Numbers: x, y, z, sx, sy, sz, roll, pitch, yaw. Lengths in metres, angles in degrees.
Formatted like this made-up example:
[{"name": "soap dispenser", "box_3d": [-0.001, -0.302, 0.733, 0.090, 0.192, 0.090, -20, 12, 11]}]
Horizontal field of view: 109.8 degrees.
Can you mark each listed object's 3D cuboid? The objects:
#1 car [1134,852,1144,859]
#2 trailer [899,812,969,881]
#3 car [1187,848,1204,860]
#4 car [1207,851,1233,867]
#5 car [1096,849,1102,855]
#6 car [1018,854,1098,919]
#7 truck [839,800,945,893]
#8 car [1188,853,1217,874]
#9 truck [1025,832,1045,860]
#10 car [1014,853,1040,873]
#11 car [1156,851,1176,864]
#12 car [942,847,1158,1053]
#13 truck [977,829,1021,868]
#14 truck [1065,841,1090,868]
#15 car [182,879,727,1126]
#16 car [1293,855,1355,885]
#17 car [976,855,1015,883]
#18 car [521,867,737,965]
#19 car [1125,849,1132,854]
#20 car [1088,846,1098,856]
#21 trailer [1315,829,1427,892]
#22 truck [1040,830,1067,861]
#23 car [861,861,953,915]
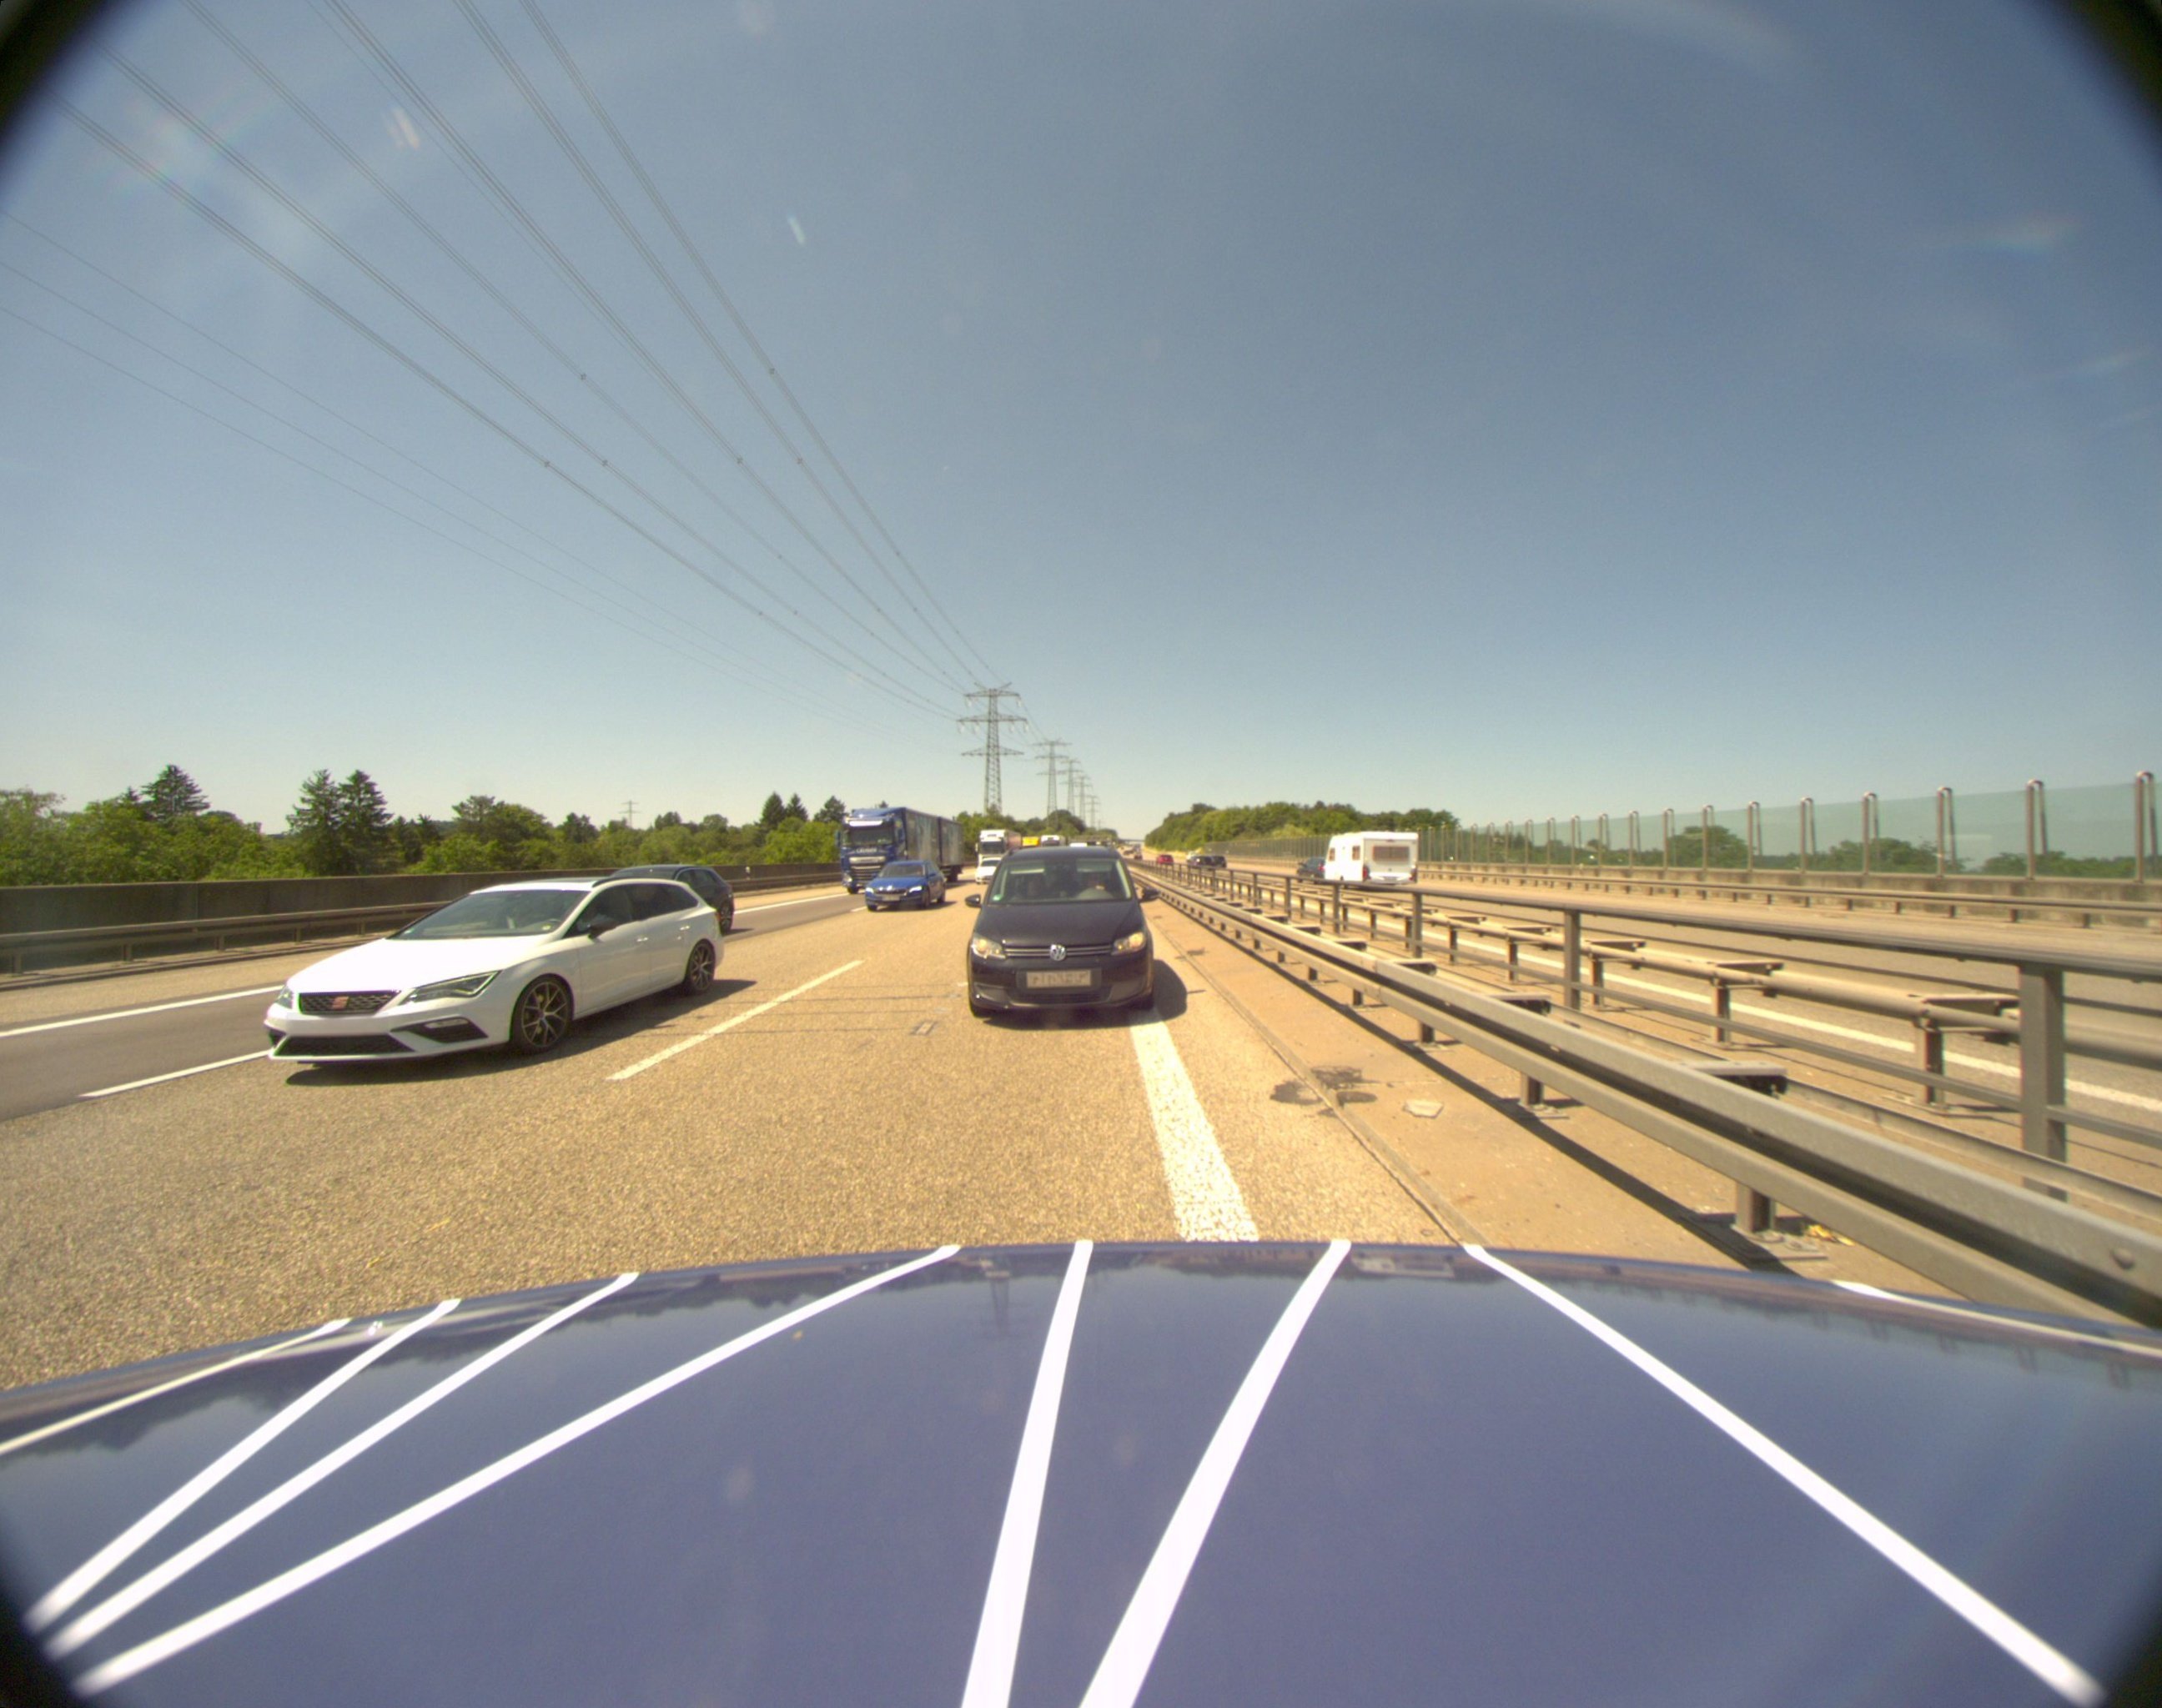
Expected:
[{"name": "car", "box_3d": [11.739, 0.349, 153.320, 1.601, 1.310, 4.341, 1, 0, 0]}, {"name": "trailer", "box_3d": [-9.112, -0.462, 48.094, 2.572, 3.922, 8.478, -2, 1, 1]}, {"name": "car", "box_3d": [18.695, 0.065, 124.418, 1.998, 1.874, 5.255, 1, 0, 0]}, {"name": "car", "box_3d": [13.832, 0.499, 75.936, 1.734, 1.483, 4.419, 1, 0, 0]}, {"name": "car", "box_3d": [5.933, -0.787, 249.958, 1.805, 2.002, 4.000, 0, 0, 1]}, {"name": "car", "box_3d": [-0.516, 0.767, 20.096, 1.845, 1.495, 4.377, -1, 0, 1]}, {"name": "truck", "box_3d": [-9.219, -0.402, 38.621, 2.529, 4.043, 10.446, -2, 1, 1]}, {"name": "car", "box_3d": [9.149, 0.702, 57.431, 1.672, 1.439, 4.000, 2, 0, 2]}, {"name": "truck", "box_3d": [-7.061, -1.270, 118.115, 2.346, 4.058, 8.278, -2, 1, 1]}, {"name": "car", "box_3d": [-4.380, 0.702, 62.026, 1.763, 1.495, 4.094, -1, 0, 0]}, {"name": "car", "box_3d": [9.626, 0.393, 86.305, 1.795, 1.469, 3.988, 0, 0, 1]}, {"name": "car", "box_3d": [-0.250, 0.783, 8.331, 1.740, 1.652, 3.999, -2, 1, 0]}, {"name": "truck", "box_3d": [-8.058, -0.581, 75.892, 2.985, 3.538, 10.966, -2, 1, 1]}, {"name": "truck", "box_3d": [-0.260, 0.047, 75.587, 2.284, 2.479, 5.861, -2, 1, 1]}, {"name": "car", "box_3d": [-5.277, 1.093, 7.301, 1.843, 1.481, 4.071, -2, 1, -1]}, {"name": "car", "box_3d": [12.713, 0.800, 40.034, 1.780, 1.399, 4.682, 1, 0, 1]}, {"name": "car", "box_3d": [-4.886, 0.823, 43.810, 1.763, 1.495, 4.094, -2, 0, -1]}, {"name": "car", "box_3d": [-8.692, 1.102, 15.105, 1.740, 1.518, 4.106, -2, 1, 1]}, {"name": "car", "box_3d": [14.579, -0.717, 232.629, 1.810, 1.618, 4.477, 1, 0, 0]}, {"name": "car", "box_3d": [2.484, -0.692, 156.239, 1.998, 2.002, 4.000, -2, 1, 1]}, {"name": "trailer", "box_3d": [12.834, 0.267, 34.274, 2.499, 2.534, 6.774, 1, 0, 1]}, {"name": "truck", "box_3d": [-3.645, -1.148, 103.508, 2.980, 3.832, 10.561, -2, 1, 1]}, {"name": "car", "box_3d": [-5.304, 0.981, 23.749, 1.739, 1.437, 4.210, -1, 0, 2]}]
